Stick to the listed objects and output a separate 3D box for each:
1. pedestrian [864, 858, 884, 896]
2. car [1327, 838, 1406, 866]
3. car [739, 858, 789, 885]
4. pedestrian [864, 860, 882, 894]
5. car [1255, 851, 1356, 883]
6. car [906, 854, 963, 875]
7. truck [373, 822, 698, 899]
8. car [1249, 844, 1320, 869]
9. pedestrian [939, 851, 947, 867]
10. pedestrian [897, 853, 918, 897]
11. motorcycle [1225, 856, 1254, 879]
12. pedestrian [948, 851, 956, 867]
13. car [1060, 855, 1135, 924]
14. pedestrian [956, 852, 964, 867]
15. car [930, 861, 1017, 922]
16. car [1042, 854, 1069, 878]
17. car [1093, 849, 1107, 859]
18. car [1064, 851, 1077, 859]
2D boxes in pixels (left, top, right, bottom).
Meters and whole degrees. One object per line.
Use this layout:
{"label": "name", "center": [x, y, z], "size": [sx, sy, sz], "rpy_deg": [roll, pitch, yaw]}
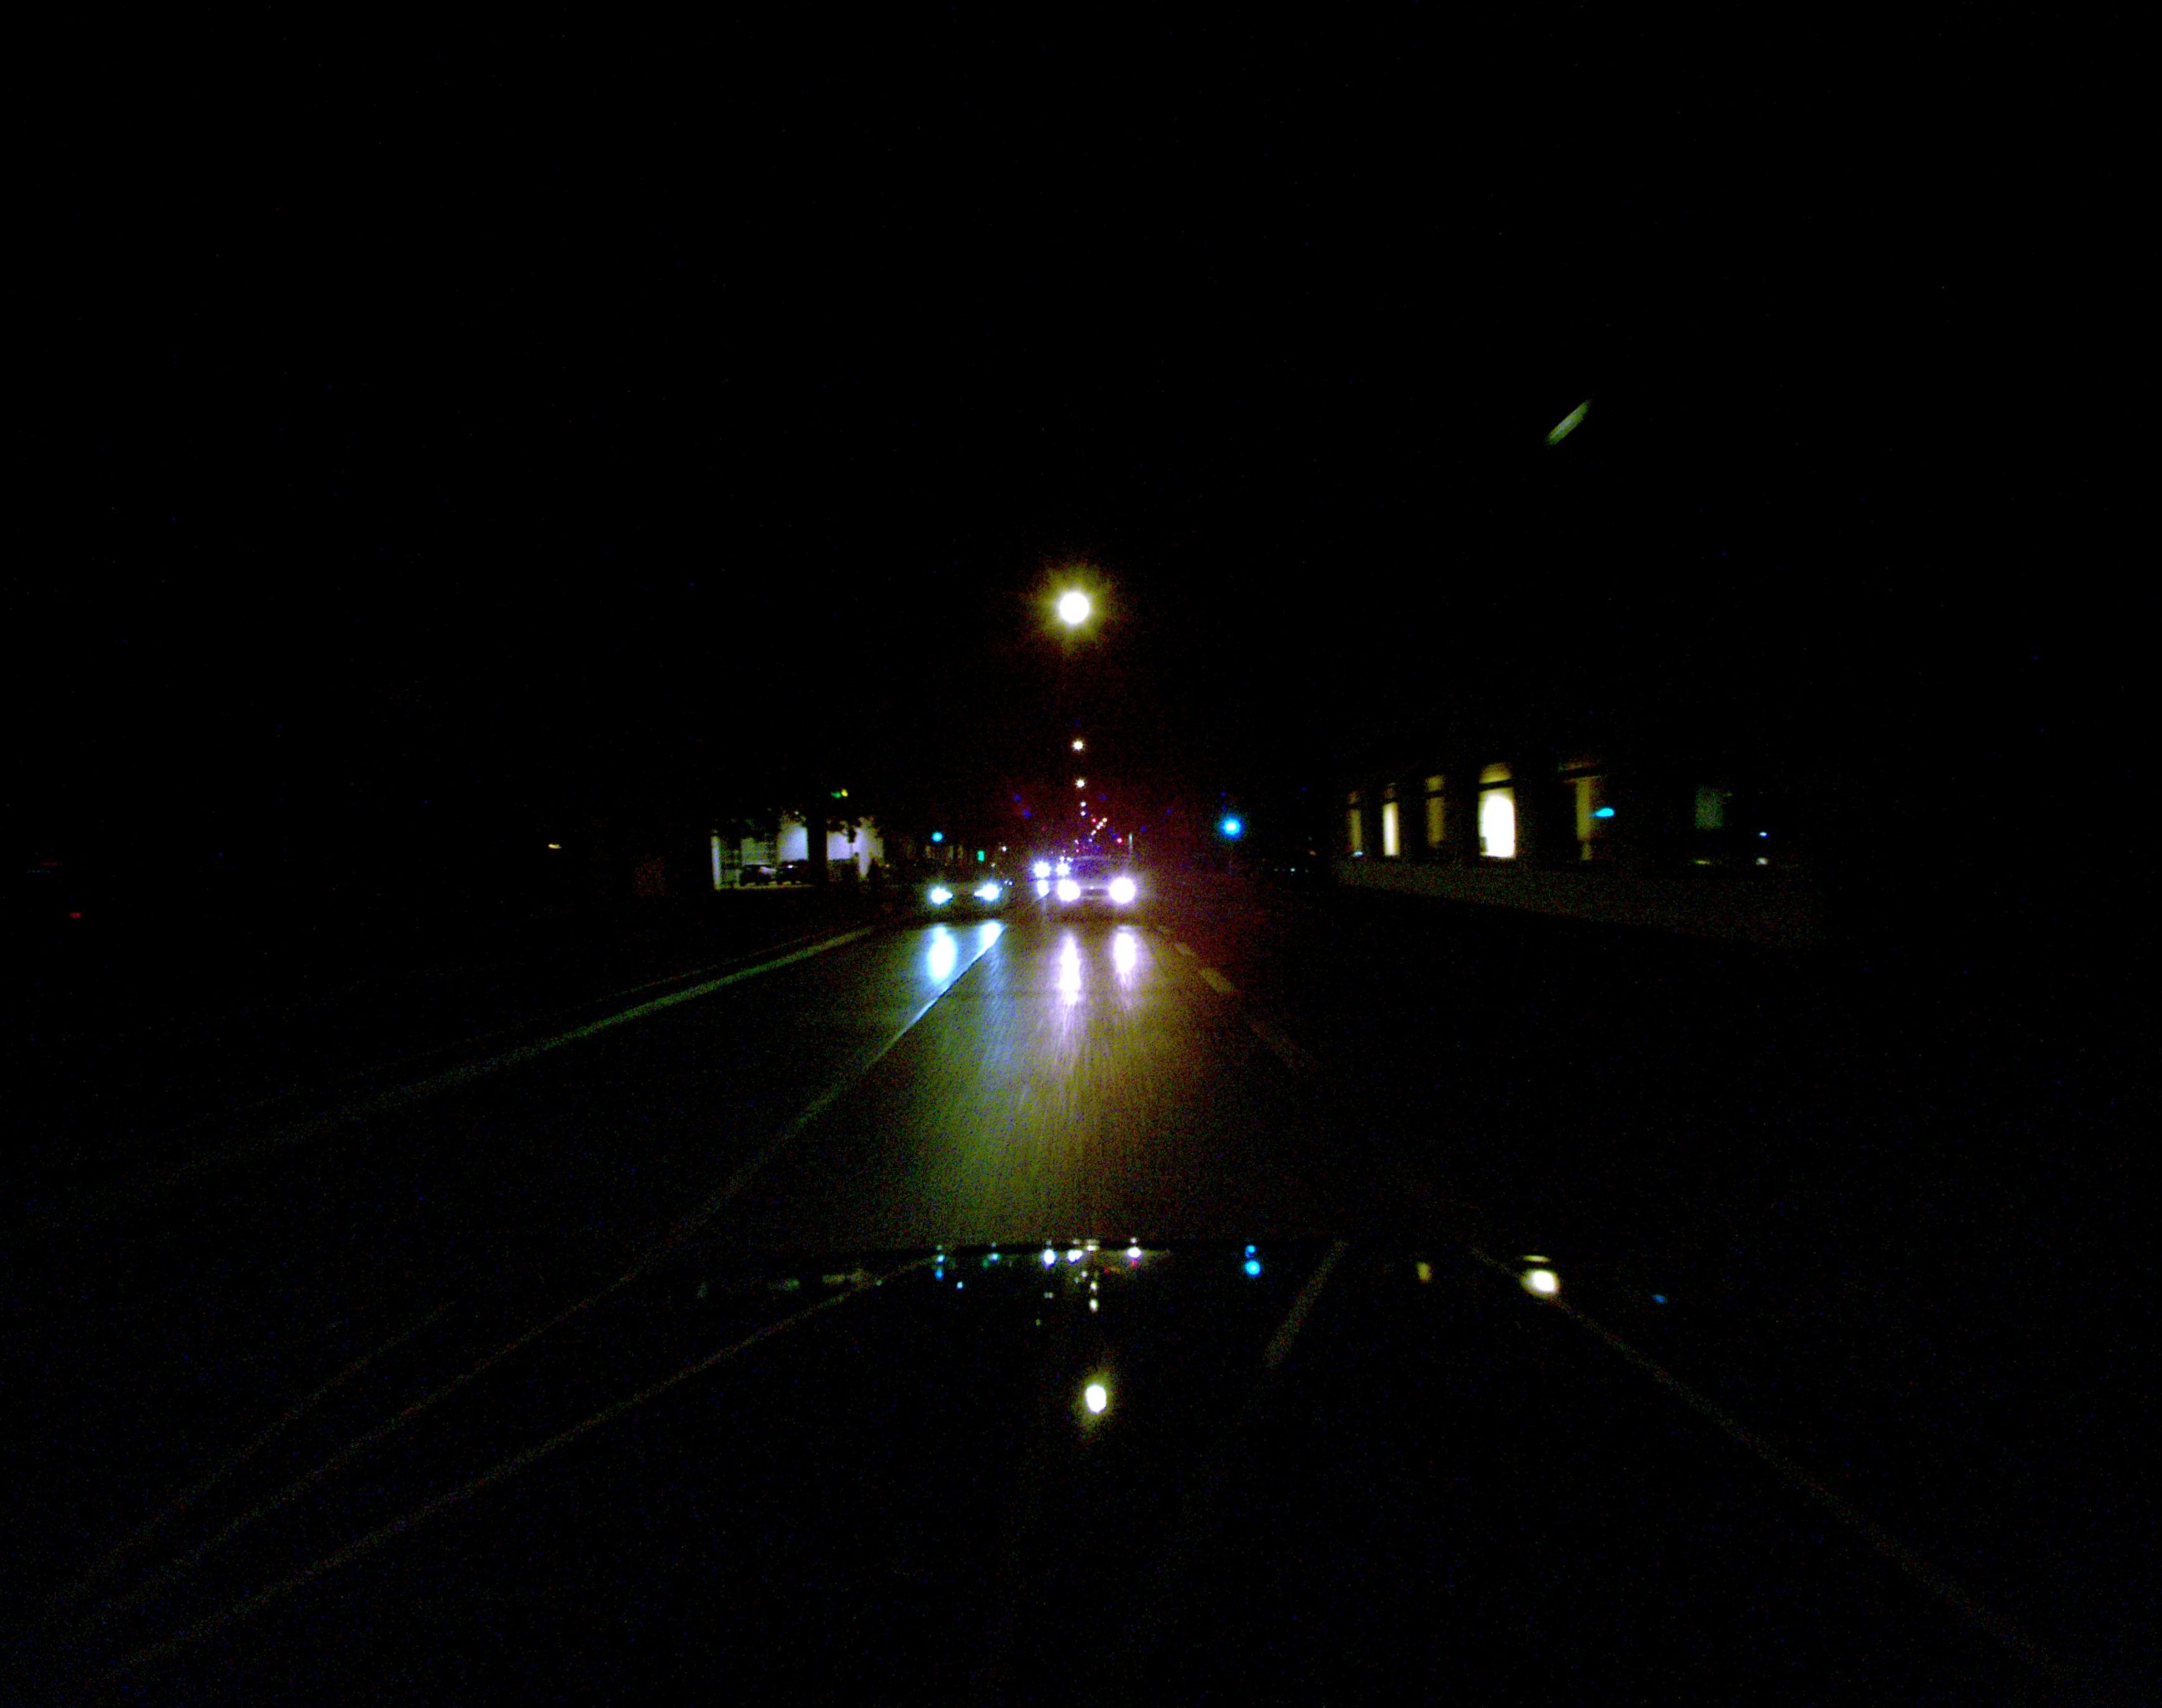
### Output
{"label": "pedestrian", "center": [-8.969, 0.991, 32.951], "size": [0.622, 1.629, 0.679], "rpy_deg": [-1, 1, 1]}
{"label": "car", "center": [20.995, -0.149, 55.943], "size": [5.001, 1.879, 2.028], "rpy_deg": [-2, 0, -1]}
{"label": "car", "center": [-21.484, 1.152, 51.593], "size": [1.731, 1.587, 3.998], "rpy_deg": [-1, 1, -1]}
{"label": "pedestrian", "center": [-9.408, 1.027, 34.344], "size": [0.574, 1.525, 0.633], "rpy_deg": [-1, 1, 1]}
{"label": "car", "center": [10.891, 0.595, 37.168], "size": [1.896, 1.416, 4.718], "rpy_deg": [-1, 1, -31]}
{"label": "car", "center": [-11.397, 0.808, 59.306], "size": [4.092, 1.446, 1.786], "rpy_deg": [-1, 1, 0]}
{"label": "truck", "center": [-31.737, 0.327, 44.652], "size": [16.819, 3.962, 3.131], "rpy_deg": [-1, 2, 1]}
{"label": "car", "center": [14.832, 0.164, 55.557], "size": [4.672, 1.620, 2.003], "rpy_deg": [-1, 2, -1]}
{"label": "pedestrian", "center": [-16.053, 0.601, 88.204], "size": [0.676, 1.806, 0.906], "rpy_deg": [-1, 1, 1]}
{"label": "pedestrian", "center": [-7.243, 0.865, 31.739], "size": [0.623, 1.801, 0.759], "rpy_deg": [-1, 1, 1]}
{"label": "motorcycle", "center": [8.399, 0.711, 40.378], "size": [0.574, 1.173, 2.029], "rpy_deg": [-2, 1, -17]}
{"label": "pedestrian", "center": [-14.970, 0.564, 88.154], "size": [0.721, 1.778, 0.970], "rpy_deg": [-1, 1, 1]}
{"label": "car", "center": [0.449, 0.802, 19.093], "size": [1.634, 1.430, 3.840], "rpy_deg": [-2, 1, 2]}
{"label": "pedestrian", "center": [-14.076, 0.579, 88.228], "size": [0.737, 1.707, 0.985], "rpy_deg": [-1, 1, 1]}
{"label": "car", "center": [-2.967, 0.993, 21.861], "size": [1.729, 1.421, 4.498], "rpy_deg": [-3, 1, 1]}
{"label": "car", "center": [-1.674, 0.780, 50.990], "size": [1.729, 1.455, 3.999], "rpy_deg": [-1, 1, 0]}
{"label": "car", "center": [3.108, 0.011, 124.013], "size": [1.998, 1.626, 4.001], "rpy_deg": [-1, 0, 3]}
{"label": "car", "center": [-1.673, 0.164, 121.081], "size": [1.618, 1.259, 3.628], "rpy_deg": [-3, 1, 3]}
